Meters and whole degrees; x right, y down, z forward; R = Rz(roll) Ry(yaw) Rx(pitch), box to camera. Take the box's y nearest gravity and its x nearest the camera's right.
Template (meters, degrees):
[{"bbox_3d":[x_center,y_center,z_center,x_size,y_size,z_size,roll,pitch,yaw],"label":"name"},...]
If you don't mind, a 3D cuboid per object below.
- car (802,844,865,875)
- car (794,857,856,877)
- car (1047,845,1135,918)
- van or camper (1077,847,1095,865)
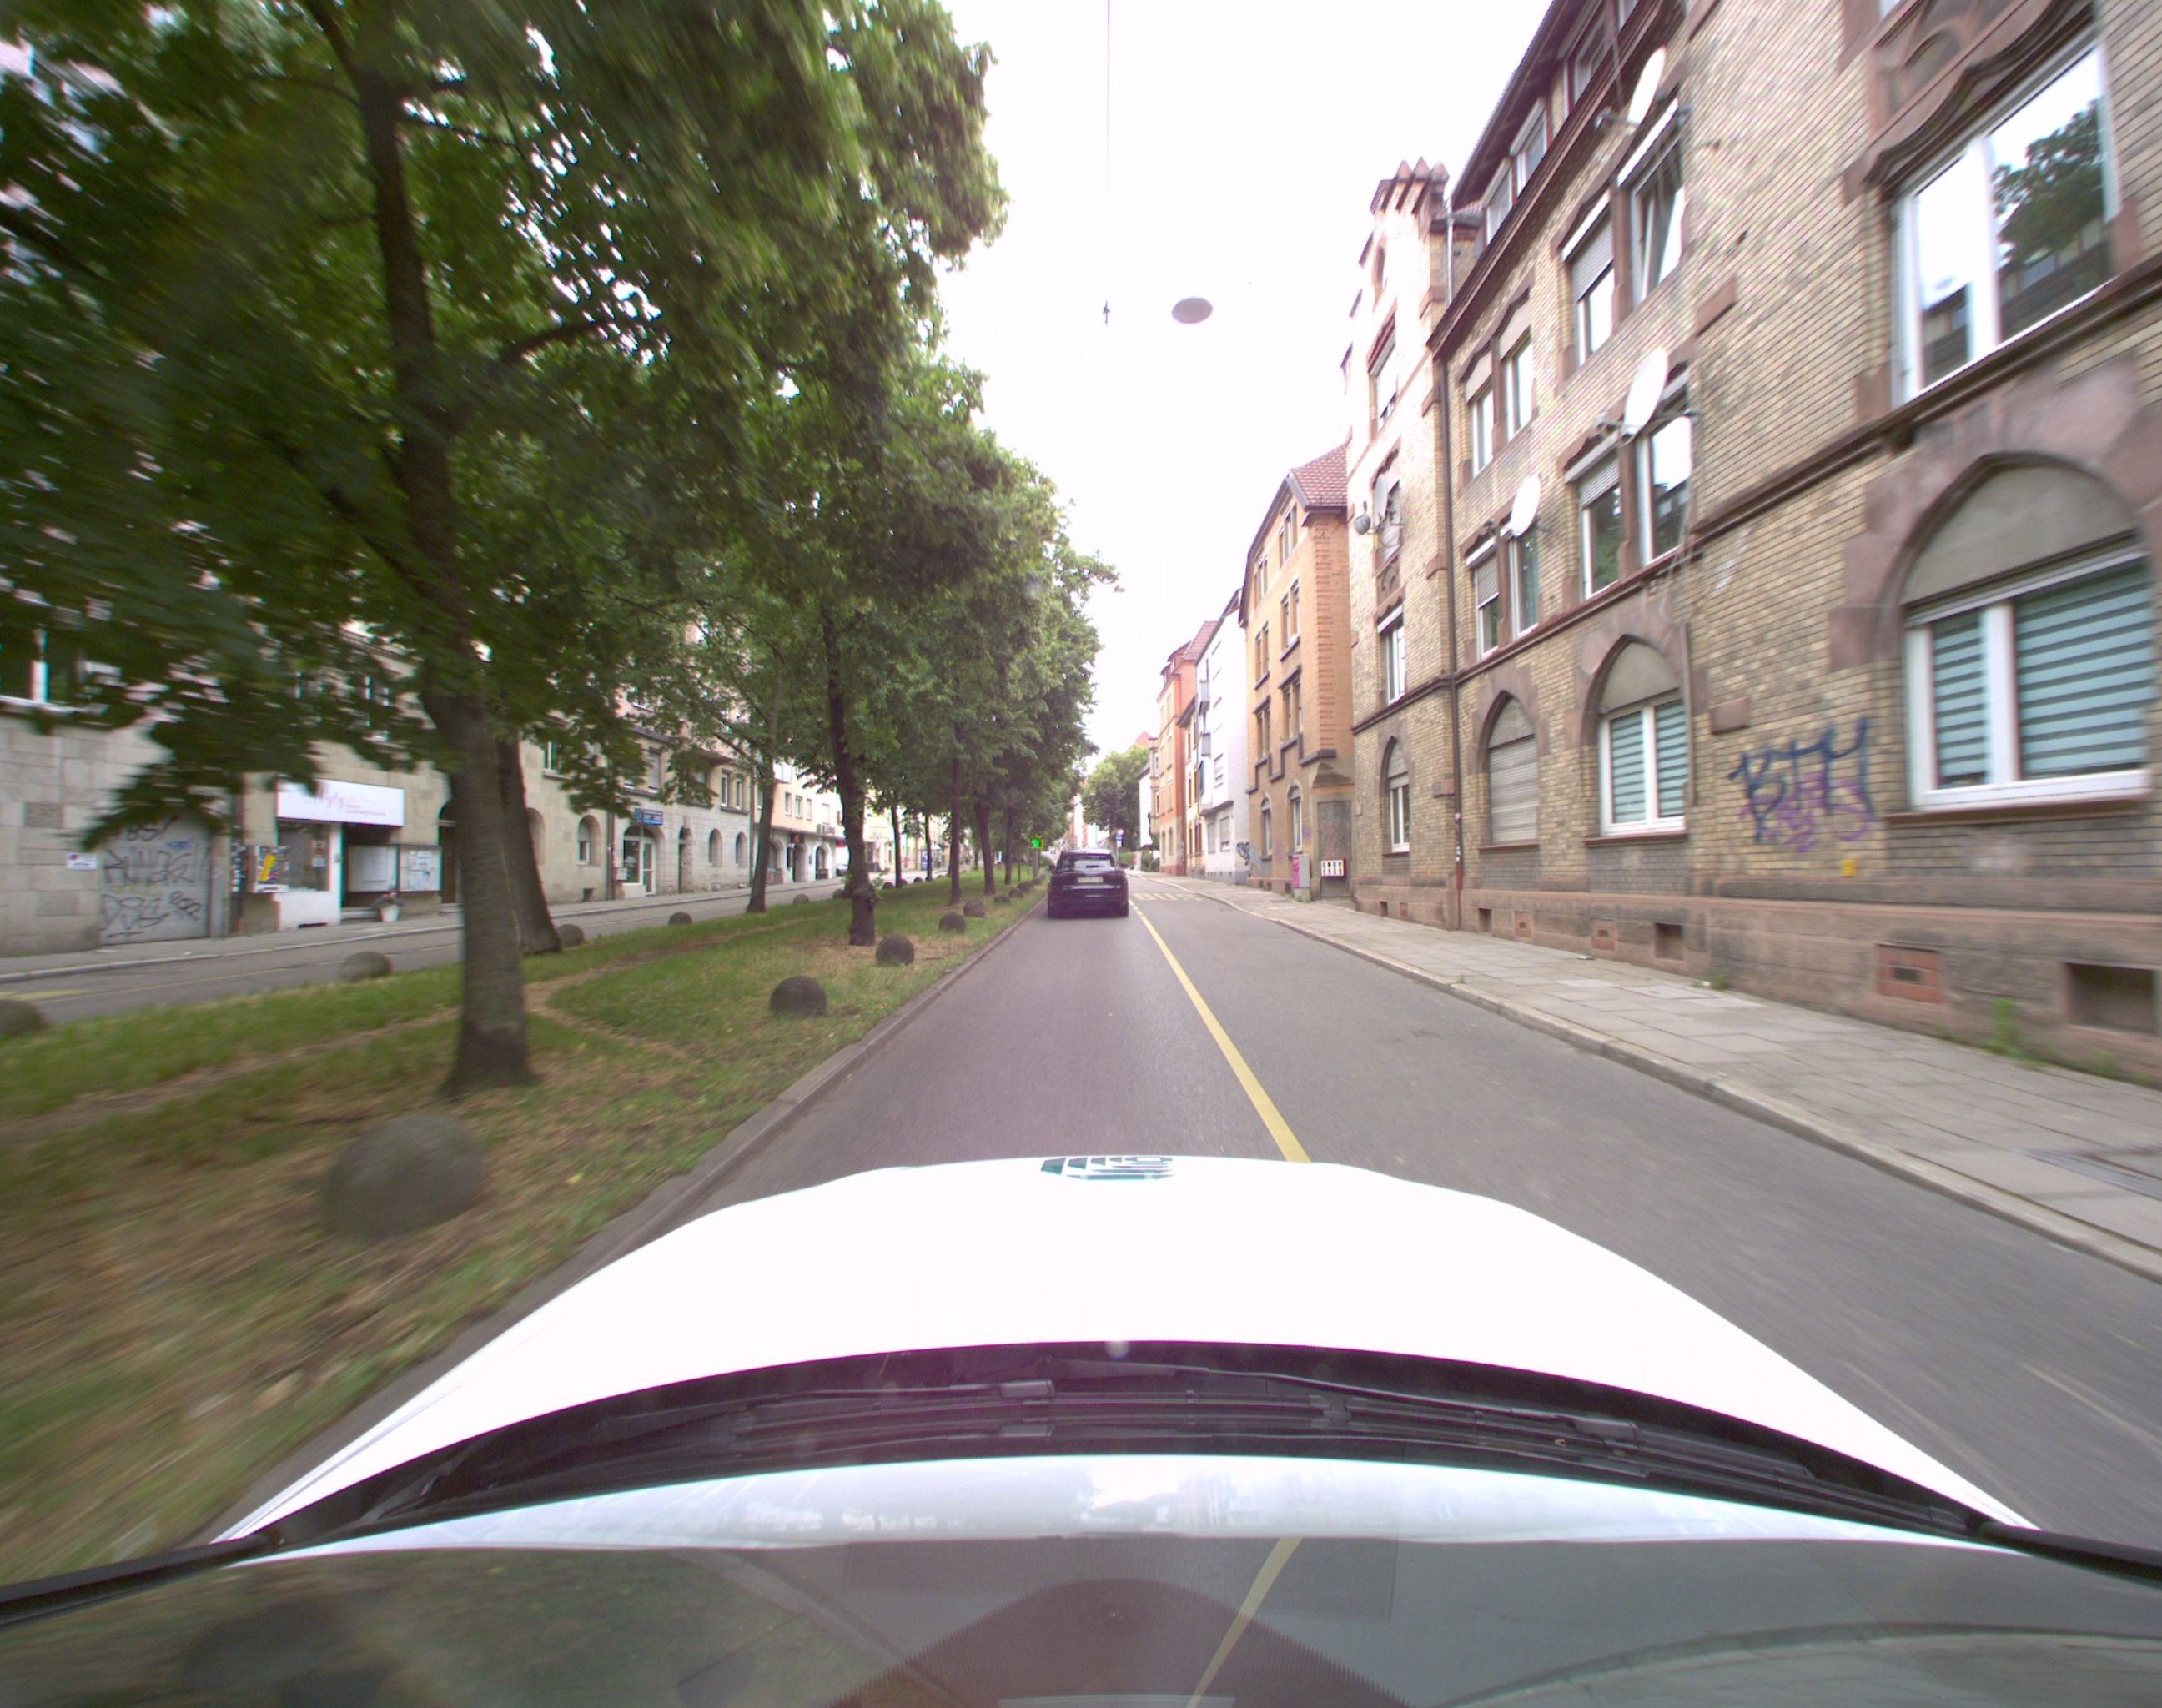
[{"bbox_3d":[-22.283,0.495,73.507,5.175,2.736,2.169,1,-1,-11],"label":"car"},{"bbox_3d":[-20.355,1.031,64.862,4.275,1.420,2.047,2,0,-1],"label":"car"},{"bbox_3d":[0.150,0.652,21.044,1.900,1.666,4.128,-1,-1,-5],"label":"car"},{"bbox_3d":[0.757,0.331,126.780,2.474,2.803,7.230,-1,-1,-3],"label":"van or camper"}]
